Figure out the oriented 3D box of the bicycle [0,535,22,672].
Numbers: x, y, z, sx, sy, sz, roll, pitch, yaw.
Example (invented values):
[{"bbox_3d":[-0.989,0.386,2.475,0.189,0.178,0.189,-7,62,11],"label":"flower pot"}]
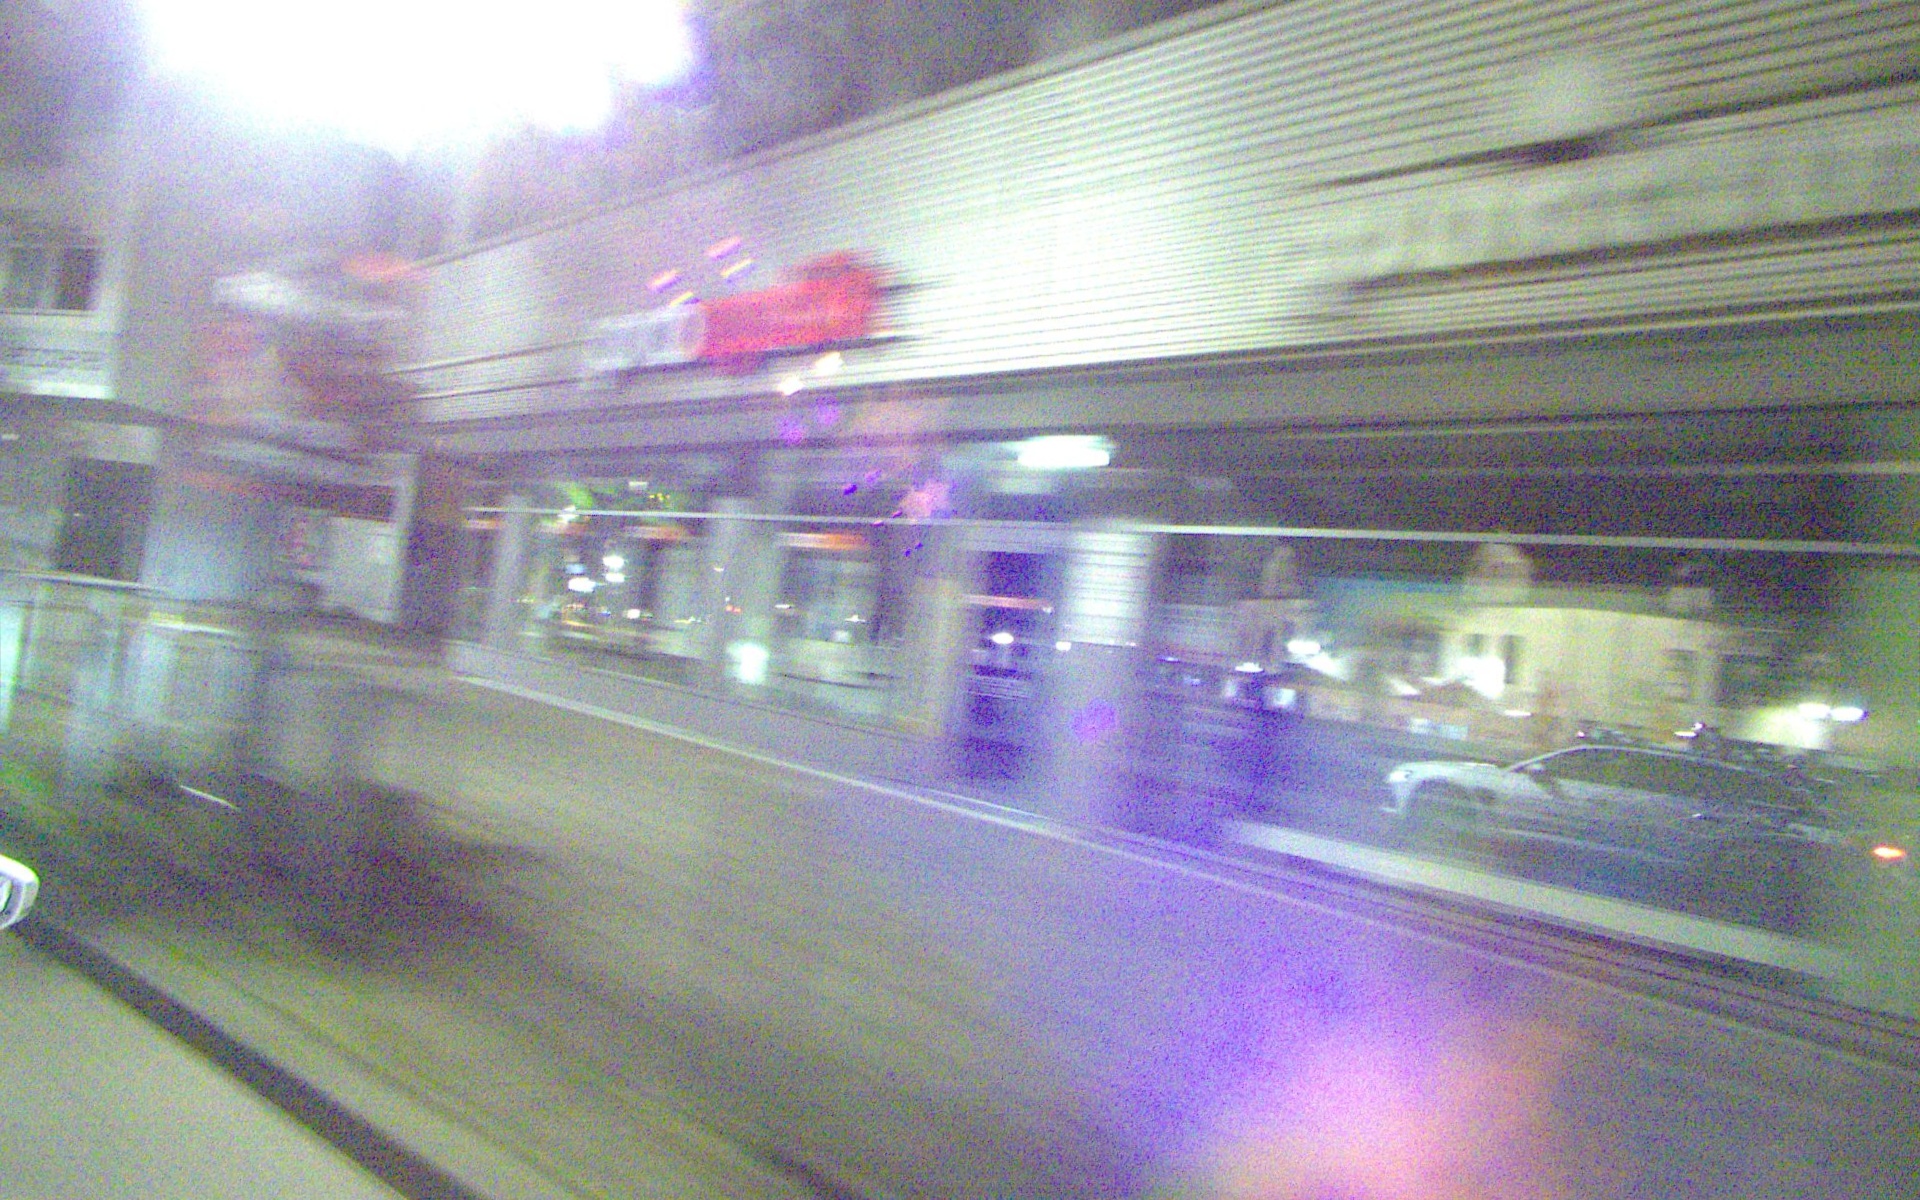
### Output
[{"bbox_3d":[-8.103,-0.071,7.270,0.643,1.074,1.758,7,-2,15],"label":"bicycle"}]
